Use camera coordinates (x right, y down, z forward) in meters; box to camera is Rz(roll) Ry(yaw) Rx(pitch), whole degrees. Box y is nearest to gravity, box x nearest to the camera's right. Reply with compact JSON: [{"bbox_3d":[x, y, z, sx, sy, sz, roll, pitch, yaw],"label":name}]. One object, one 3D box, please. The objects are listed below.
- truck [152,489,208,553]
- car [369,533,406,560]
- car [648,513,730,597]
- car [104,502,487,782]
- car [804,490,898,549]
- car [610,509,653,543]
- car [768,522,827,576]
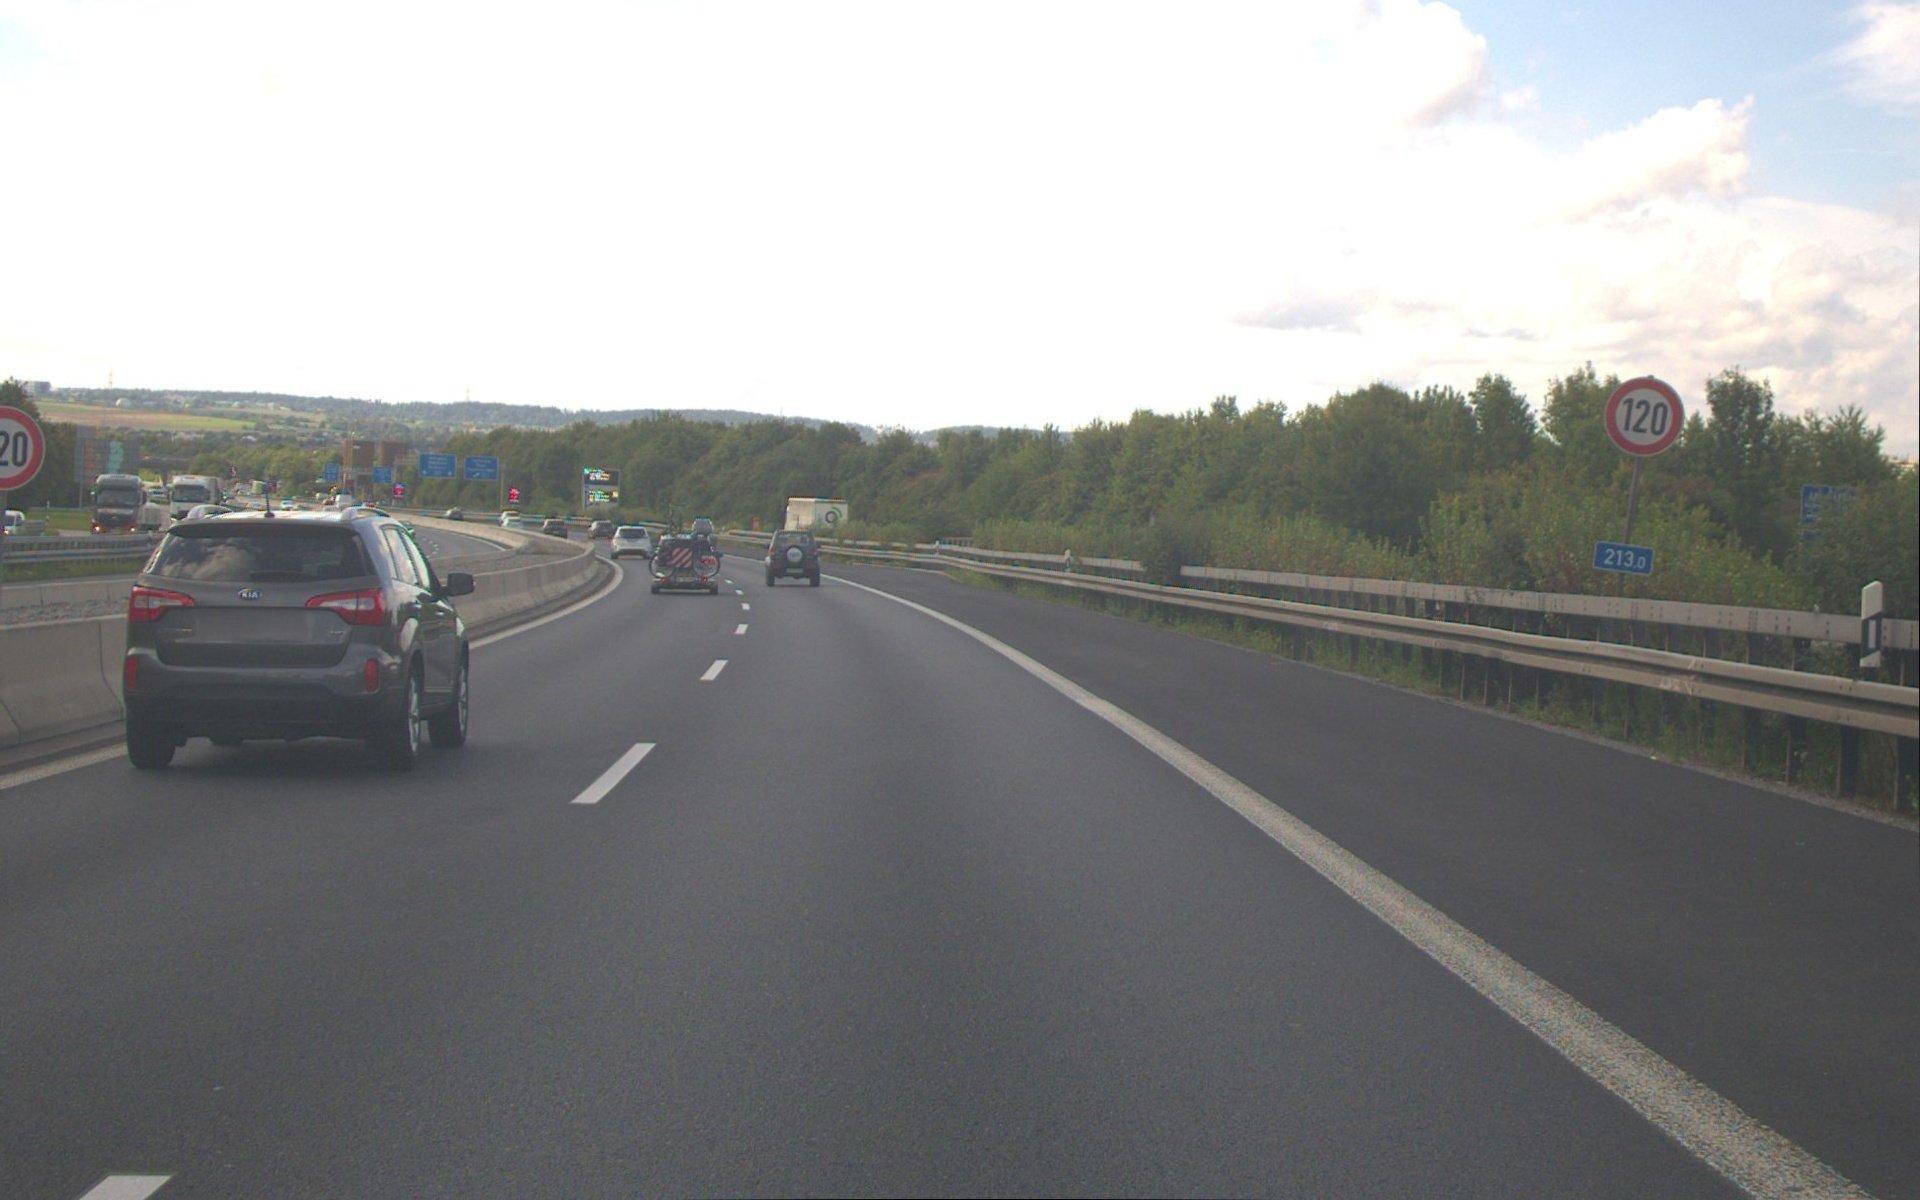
[{"bbox_3d":[-54.826,-5.521,241.790,3.320,4.278,6.750,1,0,-9],"label":"truck"},{"bbox_3d":[-33.706,-3.149,202.465,1.712,1.522,4.767,1,0,-5],"label":"car"},{"bbox_3d":[-7.184,-1.214,91.438,2.030,2.144,4.001,1,1,-3],"label":"car"},{"bbox_3d":[-4.510,0.226,24.085,1.817,1.730,5.187,1,1,-2],"label":"car"},{"bbox_3d":[-8.468,-6.180,265.093,4.727,4.251,11.407,1,0,-15],"label":"car"},{"bbox_3d":[-17.020,-3.824,178.012,1.993,1.678,4.001,1,0,-8],"label":"car"},{"bbox_3d":[-5.011,-1.570,105.502,1.587,1.591,4.096,1,1,-5],"label":"car"}]
